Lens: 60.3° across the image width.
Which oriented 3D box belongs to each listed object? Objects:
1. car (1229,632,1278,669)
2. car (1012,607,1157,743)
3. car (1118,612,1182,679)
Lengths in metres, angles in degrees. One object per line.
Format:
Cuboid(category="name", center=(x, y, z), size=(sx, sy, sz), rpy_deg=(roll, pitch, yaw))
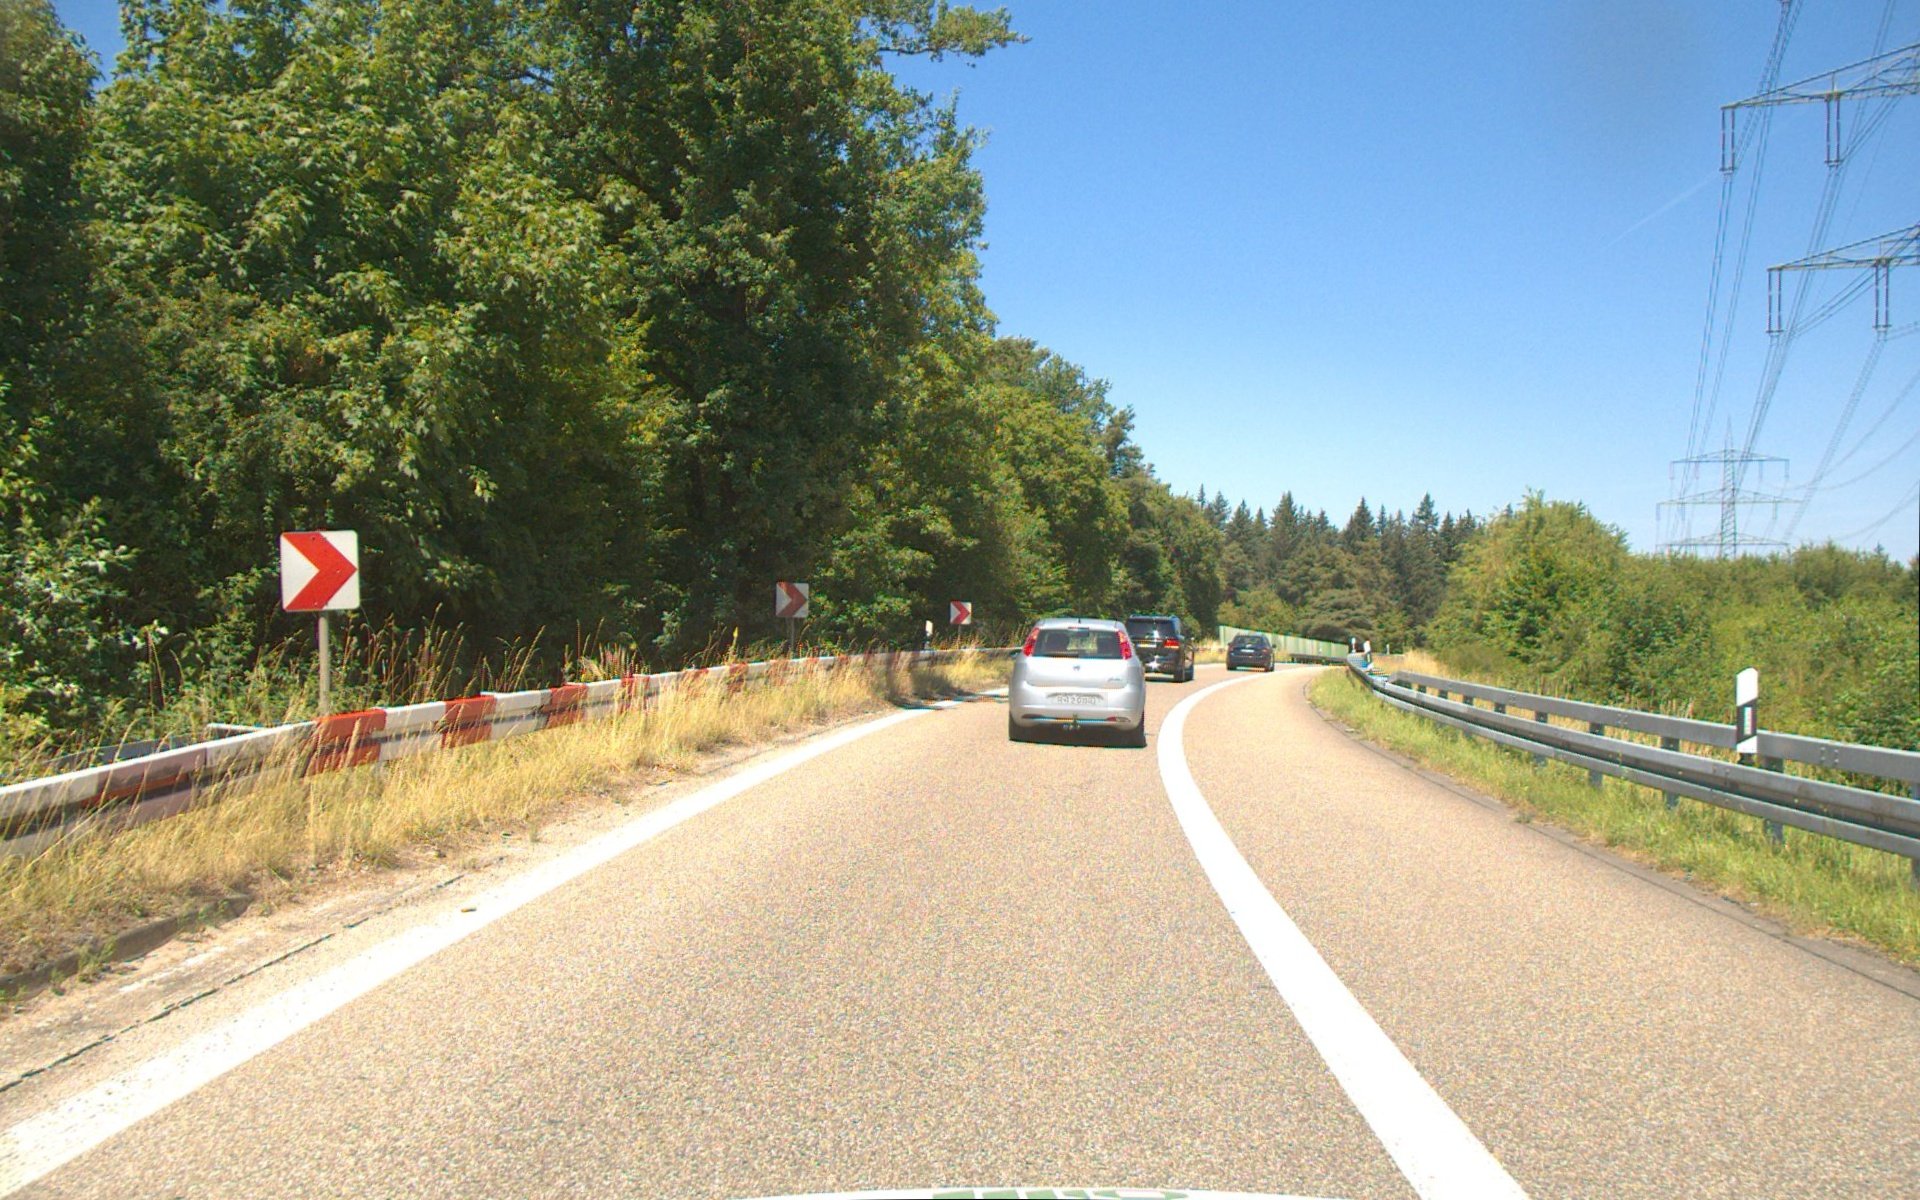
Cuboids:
Cuboid(category="car", center=(11.733, 1.996, 65.982), size=(1.605, 1.366, 3.576), rpy_deg=(2, -1, 14))
Cuboid(category="car", center=(1.635, 0.894, 20.838), size=(1.605, 1.493, 3.421), rpy_deg=(2, -1, 7))
Cuboid(category="car", center=(5.285, 1.244, 45.713), size=(1.605, 1.682, 3.576), rpy_deg=(2, -1, 8))
